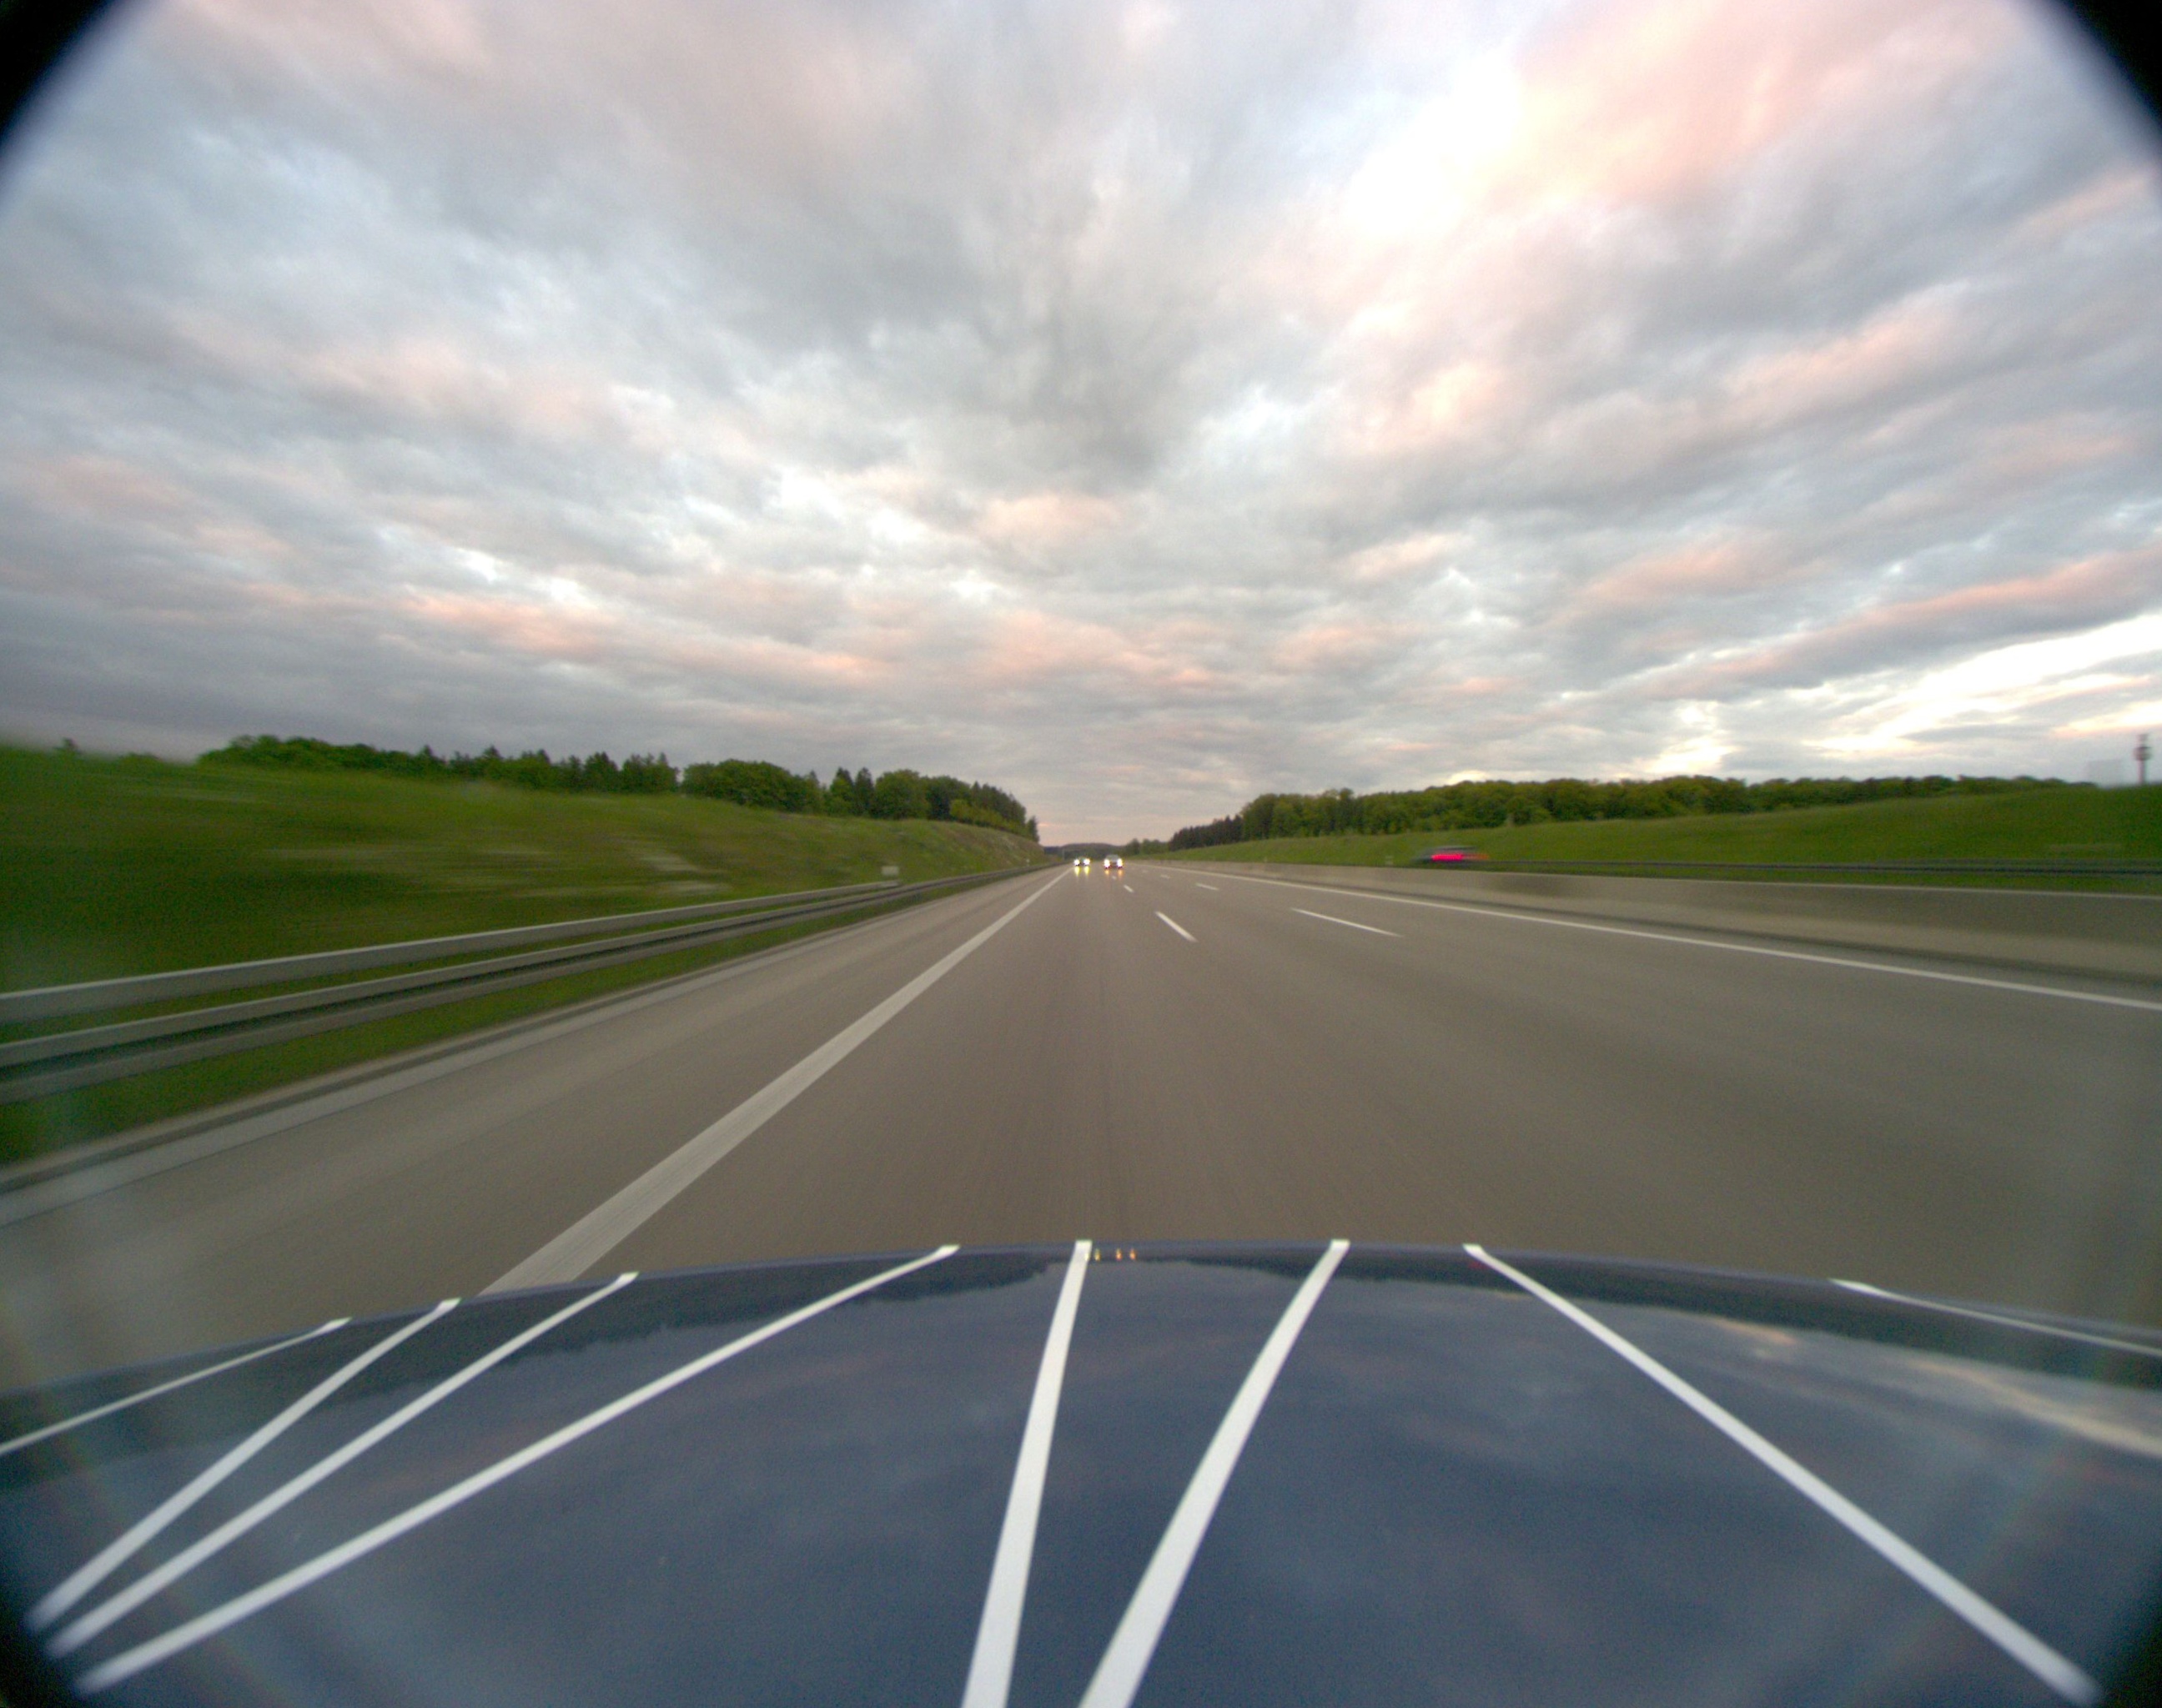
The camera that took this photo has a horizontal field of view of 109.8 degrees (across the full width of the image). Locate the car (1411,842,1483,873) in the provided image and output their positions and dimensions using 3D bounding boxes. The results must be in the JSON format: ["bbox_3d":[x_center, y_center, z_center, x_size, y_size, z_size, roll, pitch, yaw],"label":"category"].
[{"bbox_3d":[22.765,0.189,47.485,1.998,1.817,5.088,-1,0,0],"label":"car"}]

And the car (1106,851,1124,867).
[{"bbox_3d":[3.922,0.553,88.218,1.857,1.683,5.511,-1,1,0],"label":"car"}]

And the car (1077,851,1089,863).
[{"bbox_3d":[0.343,0.493,121.571,1.801,1.674,4.384,-1,1,0],"label":"car"}]
